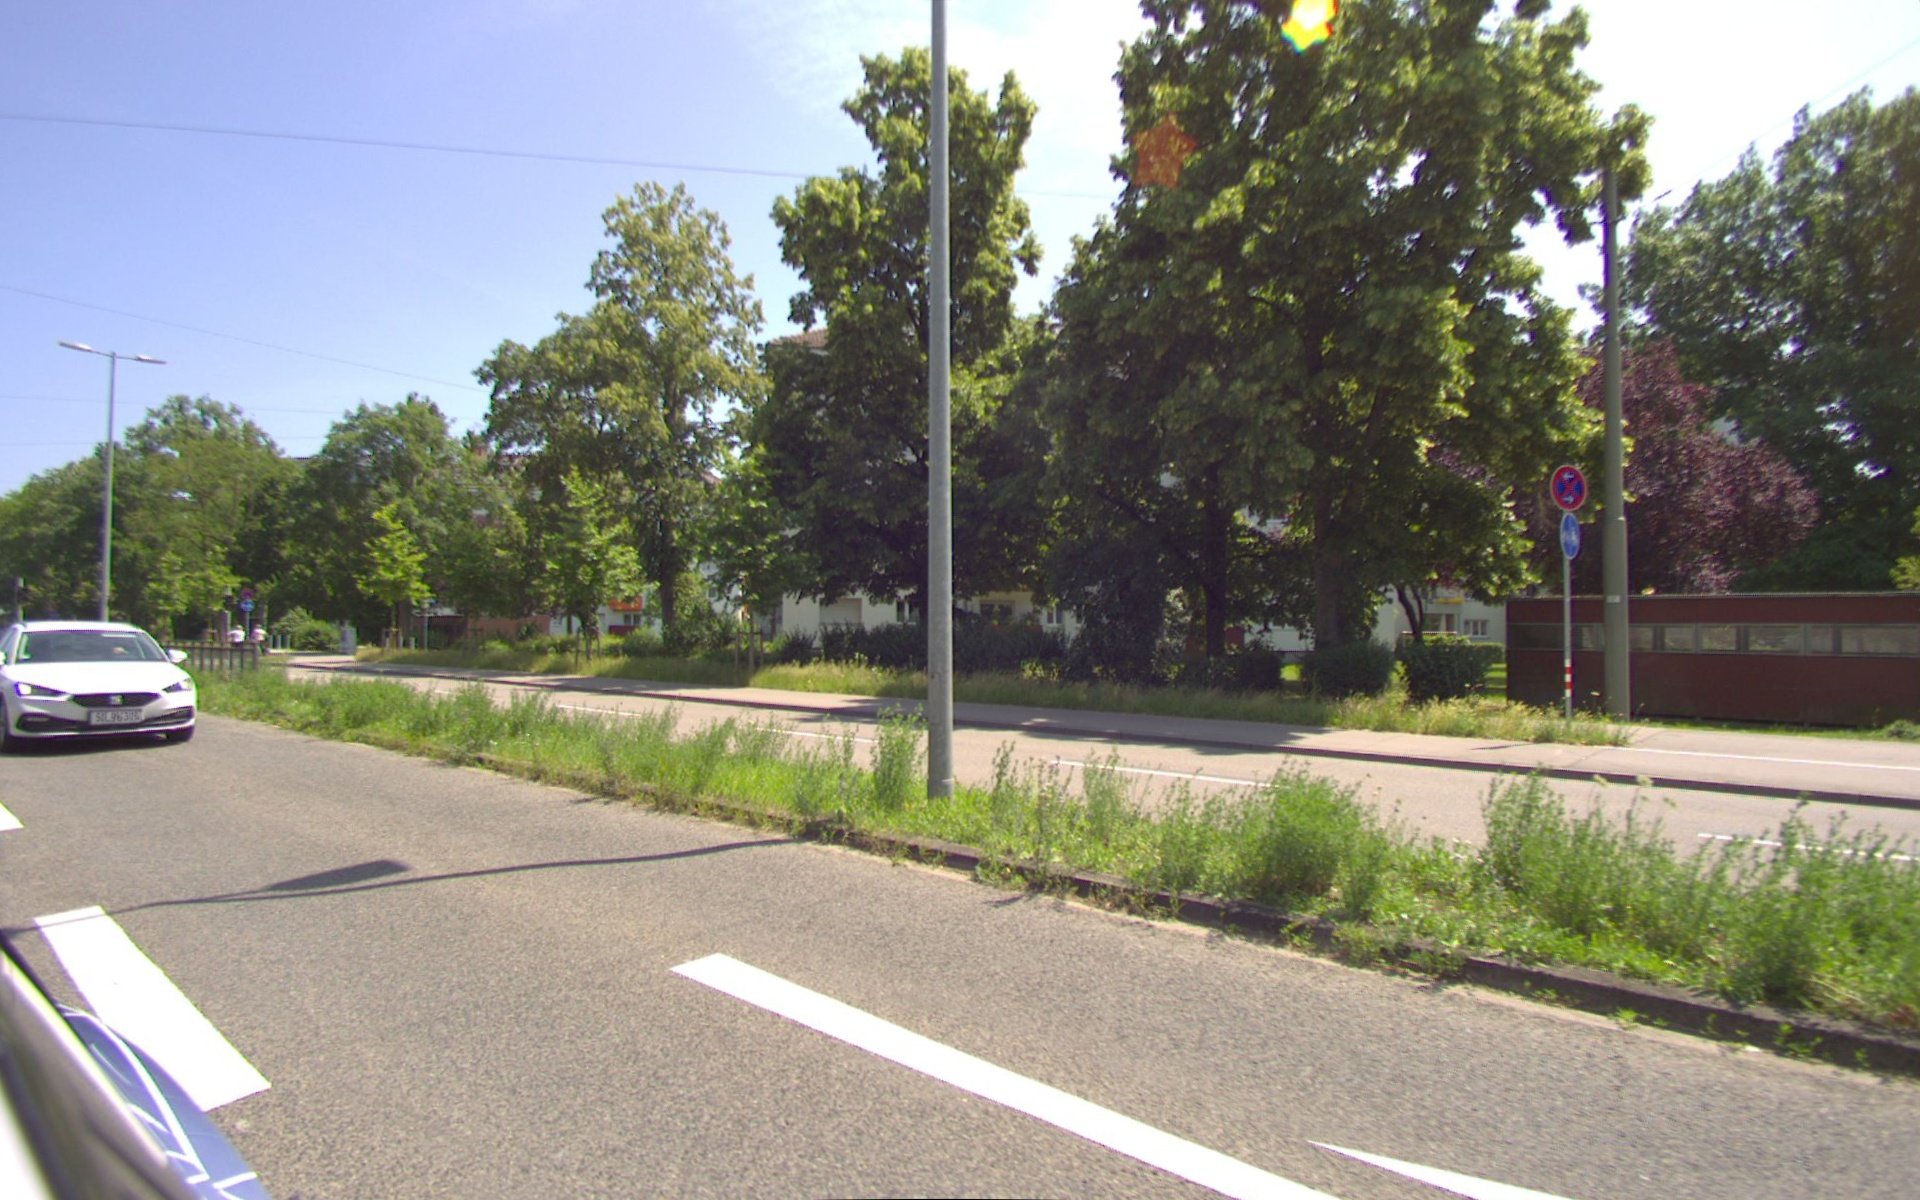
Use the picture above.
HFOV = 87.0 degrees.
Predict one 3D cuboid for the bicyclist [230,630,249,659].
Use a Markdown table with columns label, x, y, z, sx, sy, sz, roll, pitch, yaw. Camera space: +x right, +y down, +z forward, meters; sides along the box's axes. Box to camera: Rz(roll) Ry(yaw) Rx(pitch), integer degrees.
| label | x | y | z | sx | sy | sz | roll | pitch | yaw |
| --- | --- | --- | --- | --- | --- | --- | --- | --- | --- |
| bicyclist | -34.452 | 2.132 | 48.375 | 0.754 | 1.356 | 0.539 | -2 | -4 | 39 |

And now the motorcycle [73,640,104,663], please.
| label | x | y | z | sx | sy | sz | roll | pitch | yaw |
| --- | --- | --- | --- | --- | --- | --- | --- | --- | --- |
| motorcycle | -49.558 | 2.907 | 57.523 | 2.391 | 1.309 | 0.798 | -2 | -4 | 37 |

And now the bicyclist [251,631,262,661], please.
| label | x | y | z | sx | sy | sz | roll | pitch | yaw |
| --- | --- | --- | --- | --- | --- | --- | --- | --- | --- |
| bicyclist | -33.972 | 2.226 | 48.872 | 0.440 | 1.402 | 0.353 | -2 | -1 | 43 |

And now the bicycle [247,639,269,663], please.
| label | x | y | z | sx | sy | sz | roll | pitch | yaw |
| --- | --- | --- | --- | --- | --- | --- | --- | --- | --- |
| bicycle | -33.865 | 2.449 | 48.792 | 1.379 | 1.103 | 0.548 | -1 | -1 | 42 |

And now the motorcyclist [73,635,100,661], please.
| label | x | y | z | sx | sy | sz | roll | pitch | yaw |
| --- | --- | --- | --- | --- | --- | --- | --- | --- | --- |
| motorcyclist | -49.728 | 2.730 | 57.620 | 1.508 | 1.414 | 0.730 | -1 | -3 | 34 |

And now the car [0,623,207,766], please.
| label | x | y | z | sx | sy | sz | roll | pitch | yaw |
| --- | --- | --- | --- | --- | --- | --- | --- | --- | --- |
| car | -10.981 | 1.058 | 12.564 | 4.109 | 1.479 | 1.749 | -2 | -3 | 41 |

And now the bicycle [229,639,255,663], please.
| label | x | y | z | sx | sy | sz | roll | pitch | yaw |
| --- | --- | --- | --- | --- | --- | --- | --- | --- | --- |
| bicycle | -34.114 | 2.422 | 48.071 | 1.614 | 1.142 | 0.582 | -2 | -4 | 40 |
